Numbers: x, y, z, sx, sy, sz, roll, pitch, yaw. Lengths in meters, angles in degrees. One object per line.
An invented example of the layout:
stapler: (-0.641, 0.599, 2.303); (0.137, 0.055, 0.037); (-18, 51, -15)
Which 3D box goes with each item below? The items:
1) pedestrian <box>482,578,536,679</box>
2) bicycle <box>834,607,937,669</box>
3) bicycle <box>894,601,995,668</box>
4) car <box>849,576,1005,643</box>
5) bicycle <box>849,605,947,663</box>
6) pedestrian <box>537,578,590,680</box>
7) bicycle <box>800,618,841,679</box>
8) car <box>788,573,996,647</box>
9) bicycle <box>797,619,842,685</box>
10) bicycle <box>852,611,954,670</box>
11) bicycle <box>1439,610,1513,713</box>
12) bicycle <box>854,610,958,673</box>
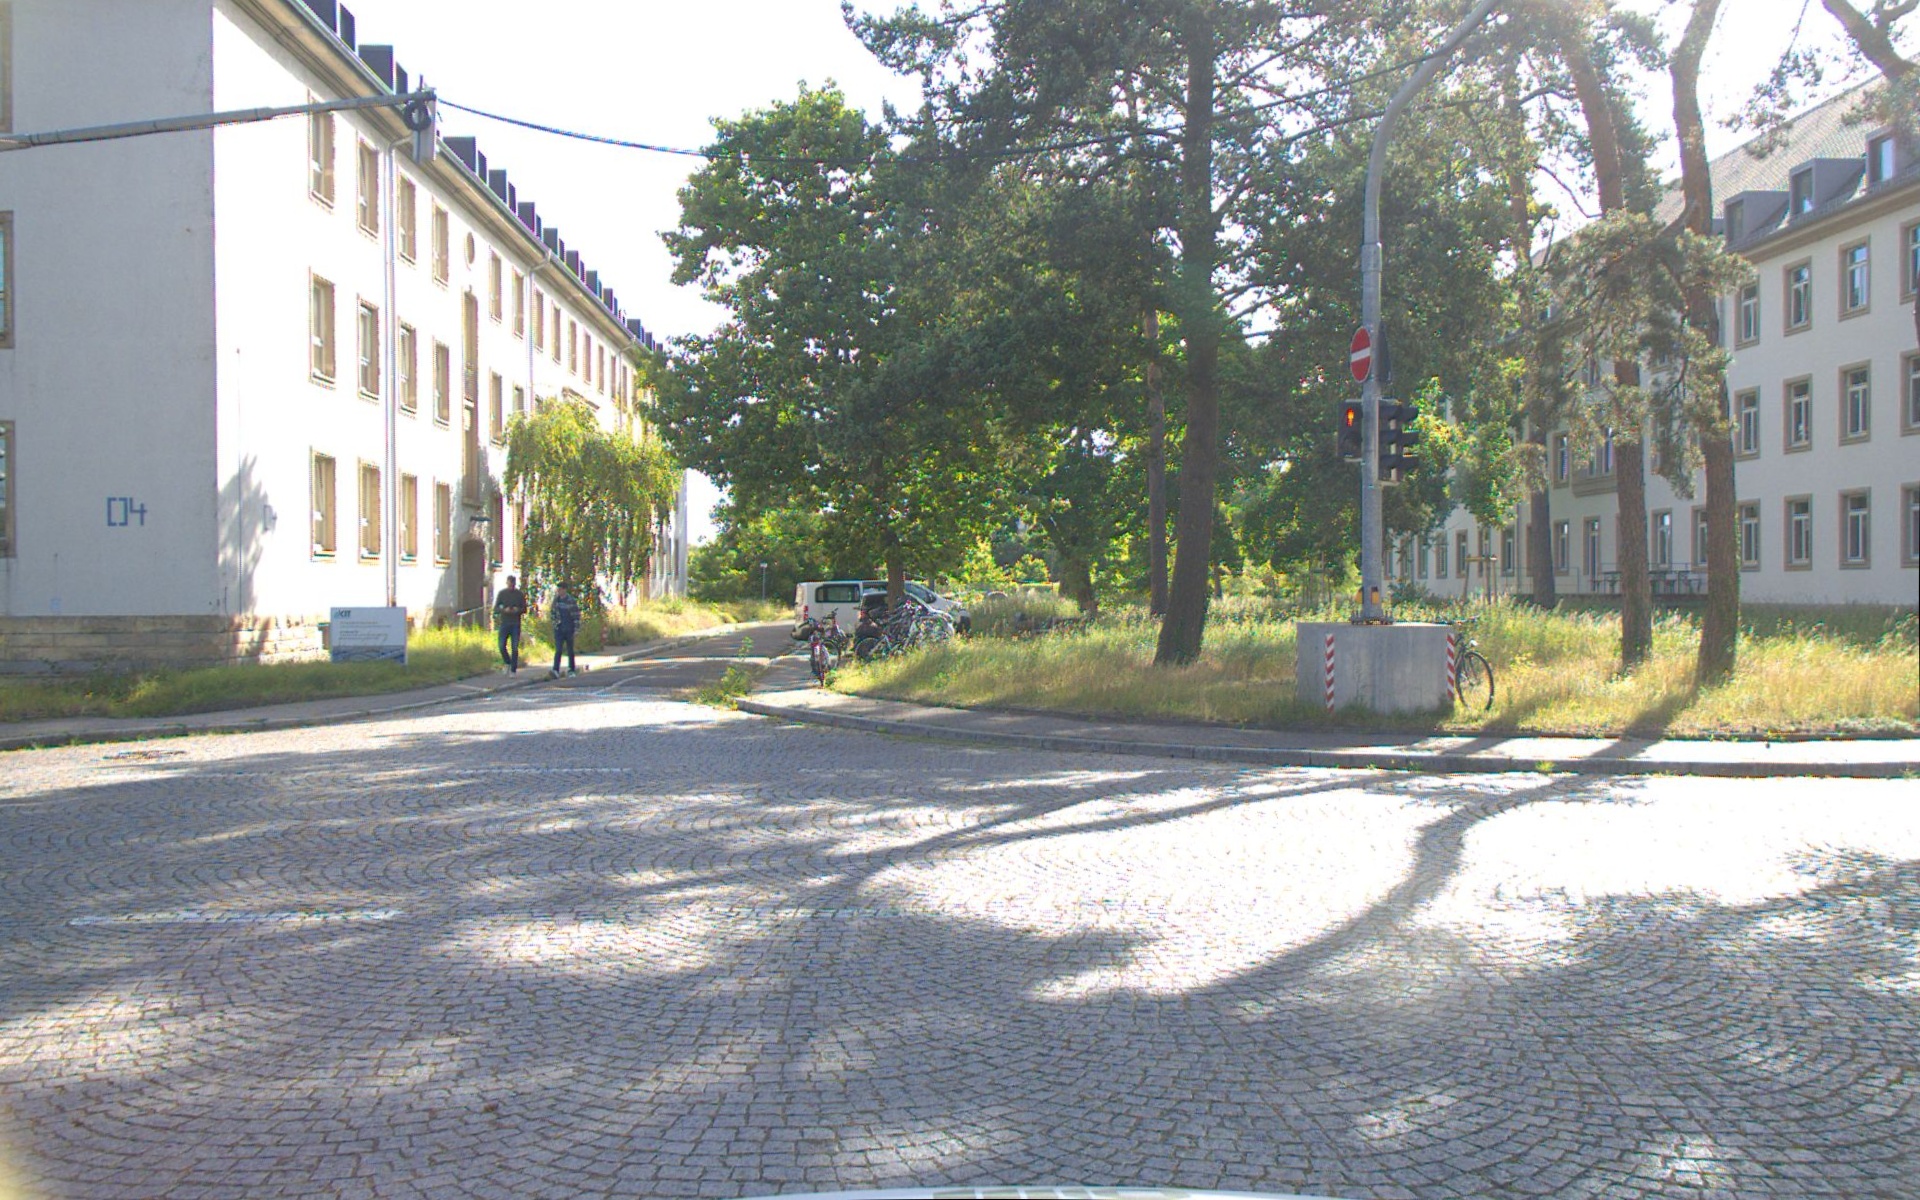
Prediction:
pedestrian: (-8.366, 0.521, 30.684); (0.794, 1.849, 0.555); (0, 0, 8)
bicycle: (-1.446, 0.725, 32.204); (1.920, 1.149, 0.641); (0, 0, -30)
bicycle: (-0.303, 0.654, 31.745); (1.903, 1.257, 0.485); (0, 0, -6)
car: (-0.904, 0.228, 43.980); (3.915, 1.713, 1.843); (0, 0, -11)
bicycle: (-1.255, 0.674, 33.316); (1.904, 1.149, 0.646); (0, 0, -8)
pedestrian: (-7.336, 0.529, 30.627); (0.751, 1.849, 0.683); (0, 0, 8)
bicycle: (-2.405, 0.824, 28.613); (0.682, 0.988, 1.859); (0, 0, -5)
car: (-2.042, 0.274, 48.260); (5.822, 2.049, 2.470); (0, 0, -10)
bicycle: (-2.258, 0.821, 26.669); (0.682, 0.988, 1.859); (0, 0, -5)
bicycle: (-1.043, 0.735, 30.213); (1.818, 1.049, 0.749); (0, 0, -6)
bicycle: (5.728, 0.669, 18.404); (0.456, 1.099, 1.174); (0, 0, 1)
bicycle: (-1.022, 0.775, 31.015); (1.903, 1.149, 0.749); (0, 0, -6)
